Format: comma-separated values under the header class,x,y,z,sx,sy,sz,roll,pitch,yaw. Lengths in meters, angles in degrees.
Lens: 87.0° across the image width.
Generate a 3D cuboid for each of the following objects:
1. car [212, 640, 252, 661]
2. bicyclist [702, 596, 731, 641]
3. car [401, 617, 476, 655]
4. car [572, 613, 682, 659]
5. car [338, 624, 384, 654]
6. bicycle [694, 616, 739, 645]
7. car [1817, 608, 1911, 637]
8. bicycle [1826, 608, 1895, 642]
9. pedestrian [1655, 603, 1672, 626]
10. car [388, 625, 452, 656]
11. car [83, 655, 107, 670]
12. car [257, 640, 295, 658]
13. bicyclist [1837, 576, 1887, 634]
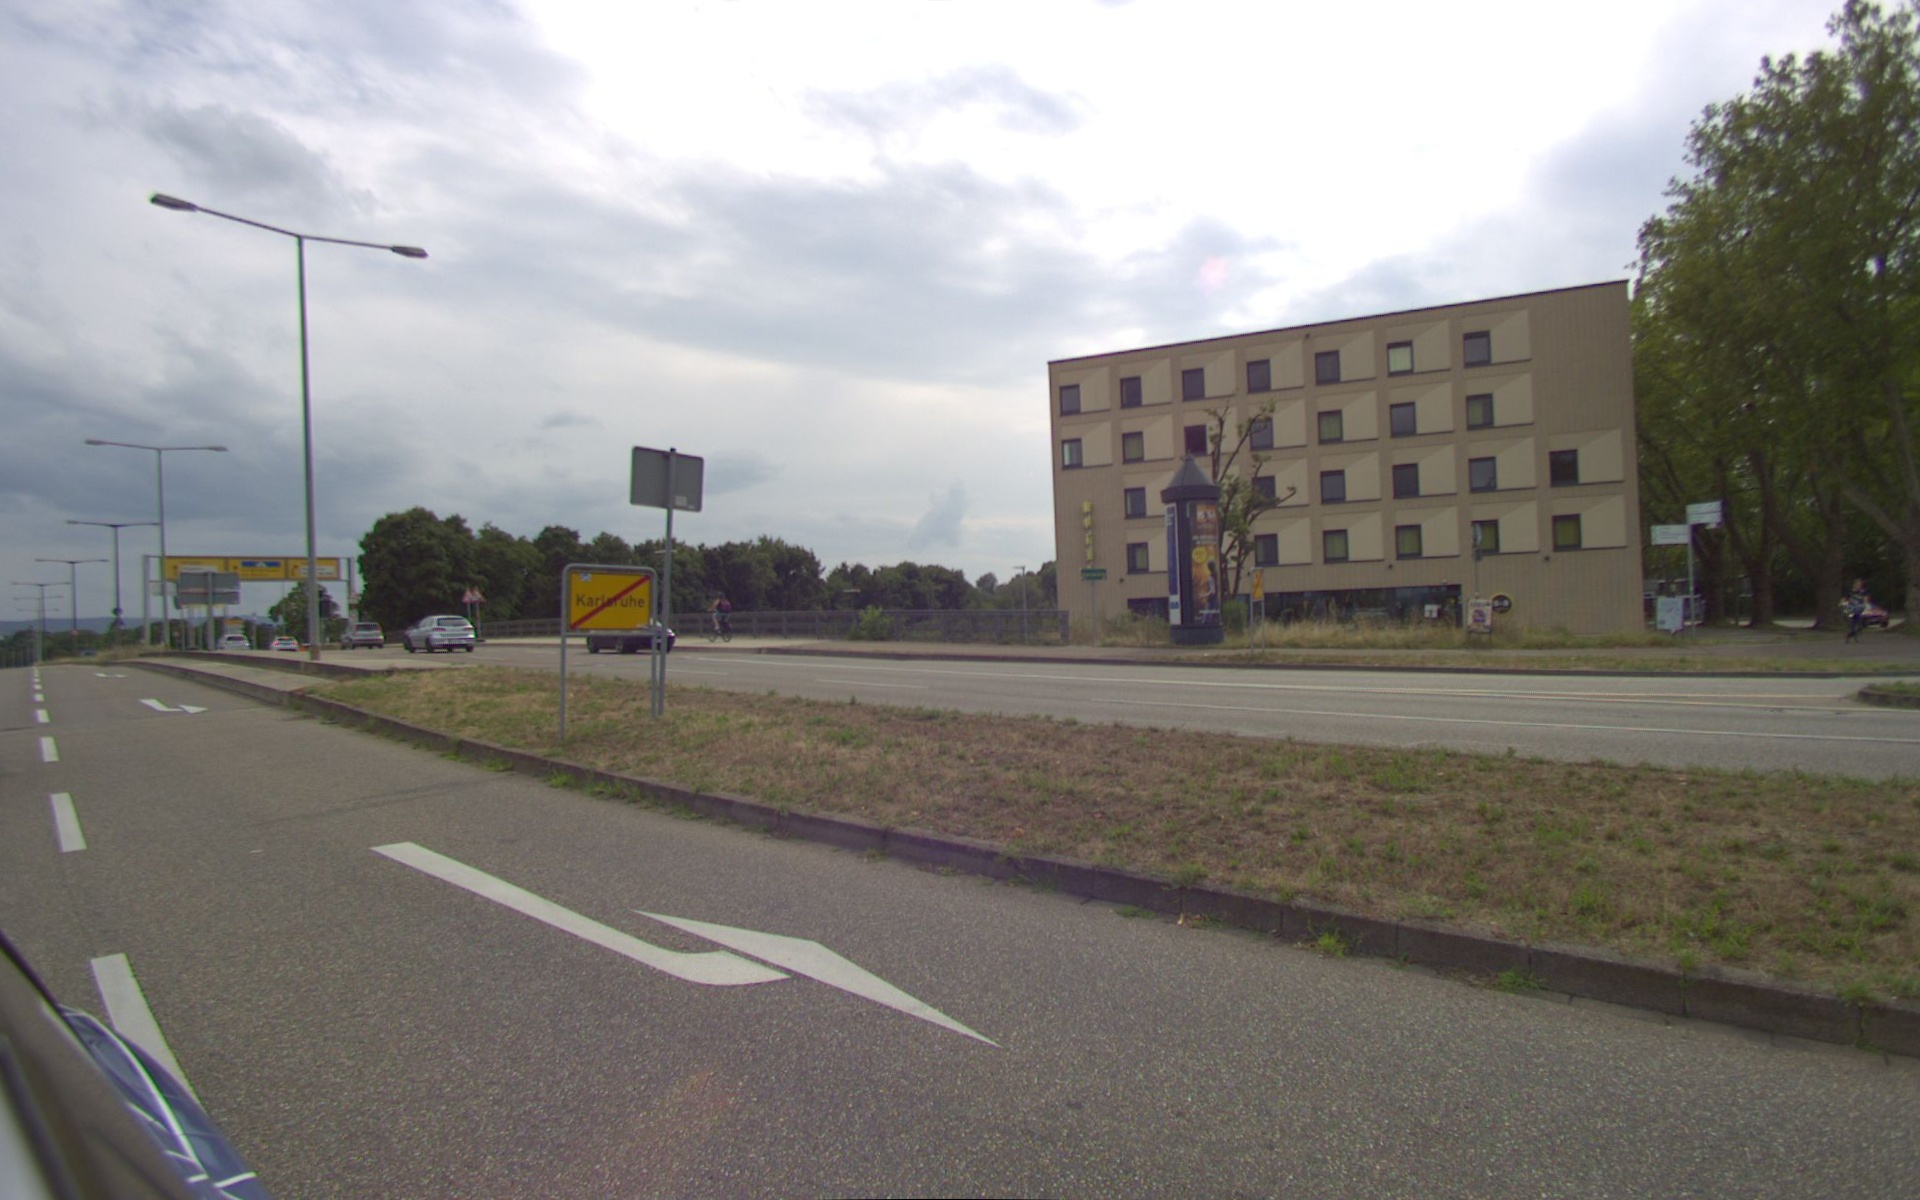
class,x,y,z,sx,sy,sz,roll,pitch,yaw
car,-54.352,3.755,75.562,4.031,1.426,1.788,-2,-1,45
bicyclist,-9.306,0.694,38.676,0.847,1.684,0.677,-2,-1,43
car,-20.550,1.400,39.796,1.597,1.421,3.863,1,-2,-44
car,-11.528,1.211,34.927,4.354,1.457,1.801,-2,-1,44
car,-35.209,2.277,59.430,1.720,1.671,4.086,1,-2,-39
bicycle,-9.334,1.160,38.697,1.995,1.061,0.676,-2,-1,44
car,46.443,1.148,52.102,1.932,1.391,4.193,-1,-1,16
bicycle,25.709,0.704,28.884,2.083,0.916,0.744,-1,-1,-28
pedestrian,35.083,0.737,50.483,0.496,1.133,0.462,-2,-1,10
car,-26.202,1.934,49.068,1.722,1.421,3.879,1,-2,-45
car,-99.166,7.127,116.018,1.864,1.652,4.589,-1,-2,-43
car,-56.506,4.033,83.613,1.896,1.426,4.886,1,-3,-43
bicyclist,25.742,0.138,28.900,0.905,1.627,0.744,-1,-1,-28
